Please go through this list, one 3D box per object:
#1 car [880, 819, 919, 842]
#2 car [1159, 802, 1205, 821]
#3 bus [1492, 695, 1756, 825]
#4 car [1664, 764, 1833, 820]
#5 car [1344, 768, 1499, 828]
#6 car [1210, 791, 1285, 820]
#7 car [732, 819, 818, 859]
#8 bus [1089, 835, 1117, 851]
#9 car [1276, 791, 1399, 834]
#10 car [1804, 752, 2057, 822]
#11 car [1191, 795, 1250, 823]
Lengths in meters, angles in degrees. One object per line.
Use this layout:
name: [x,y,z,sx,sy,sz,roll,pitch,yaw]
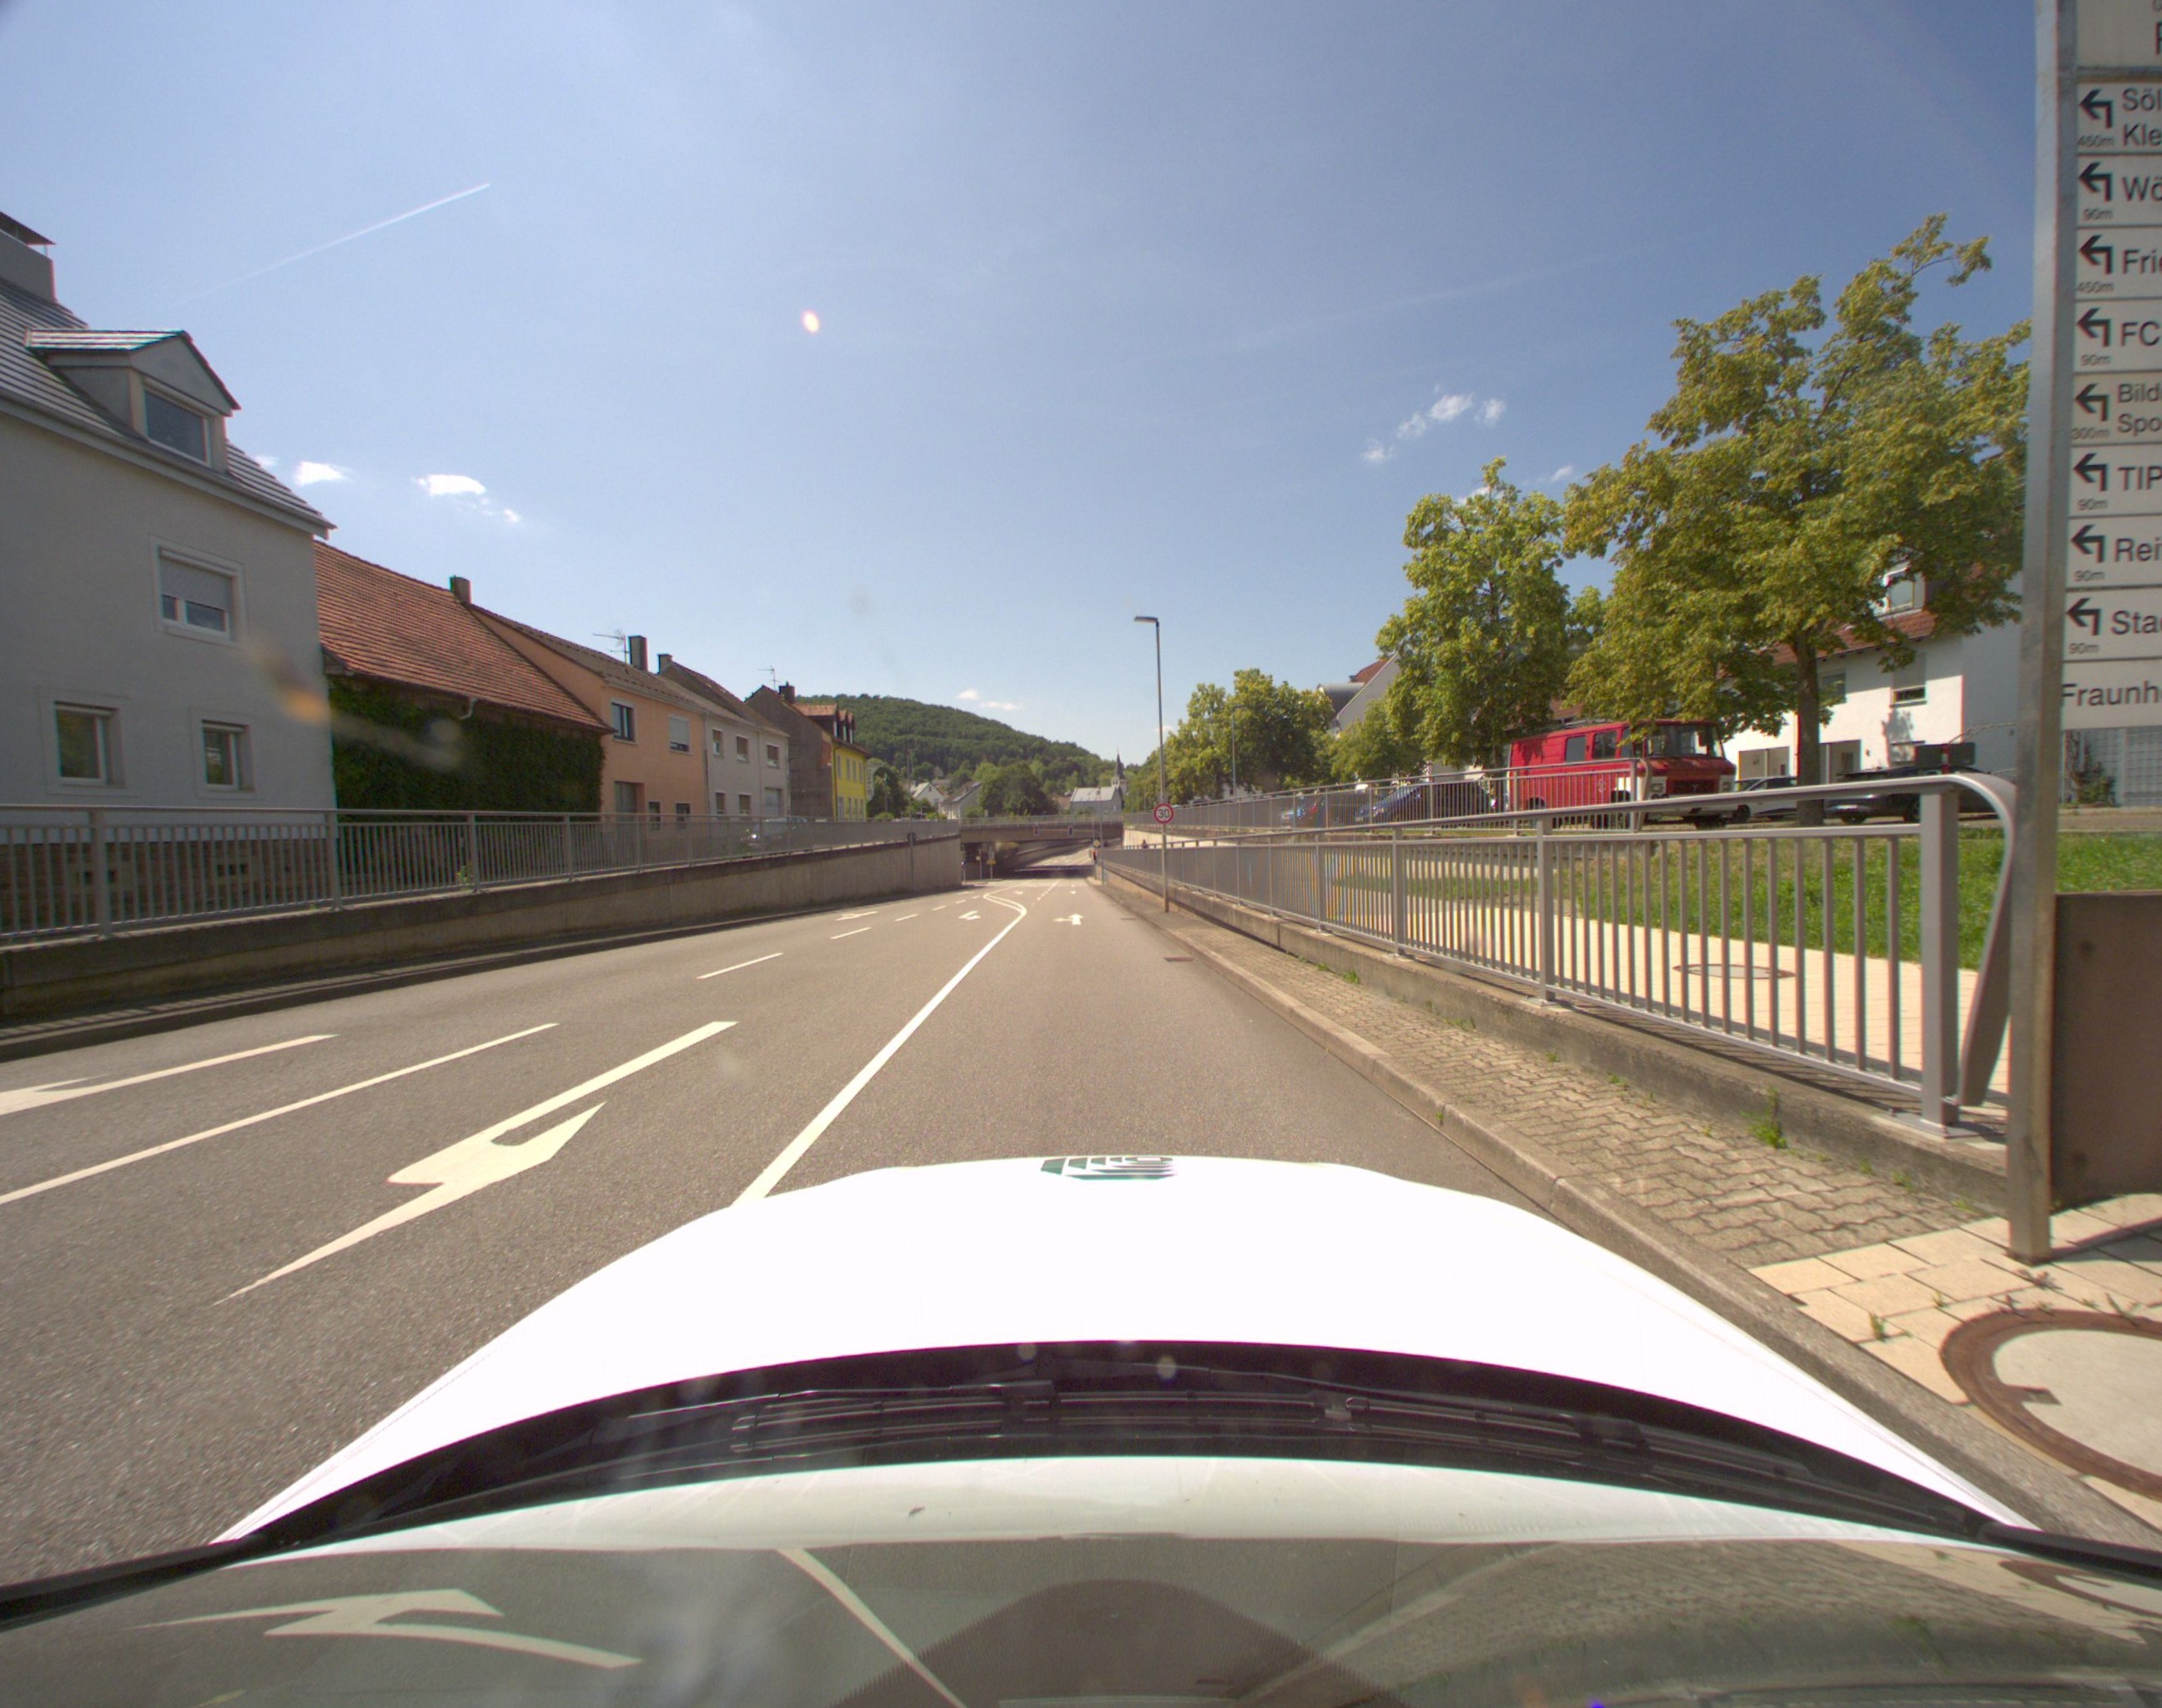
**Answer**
car: [-12.285,-1.587,55.414,1.794,1.524,4.389,-1,1,-3]
car: [9.146,-3.871,74.073,3.971,1.486,1.770,-1,-1,2]
bus: [11.748,-1.927,18.228,2.183,2.366,5.361,-3,3,-2]
car: [21.343,-1.959,26.154,3.977,1.629,1.861,0,-1,-2]
car: [10.306,-1.659,24.787,3.987,1.629,1.857,0,-1,-10]
car: [9.509,-2.789,46.794,3.971,1.486,1.770,-1,-1,2]
car: [-11.714,-0.595,31.501,1.781,1.405,4.389,-1,1,-3]
bus: [4.736,-2.349,173.011,2.561,3.172,12.434,-1,1,17]
car: [9.278,-1.503,29.715,3.972,1.427,1.725,-1,2,1]
car: [21.575,-1.676,20.814,4.471,1.479,2.000,-3,3,-1]
car: [9.979,-3.220,58.462,3.971,1.770,1.770,-1,-1,2]
